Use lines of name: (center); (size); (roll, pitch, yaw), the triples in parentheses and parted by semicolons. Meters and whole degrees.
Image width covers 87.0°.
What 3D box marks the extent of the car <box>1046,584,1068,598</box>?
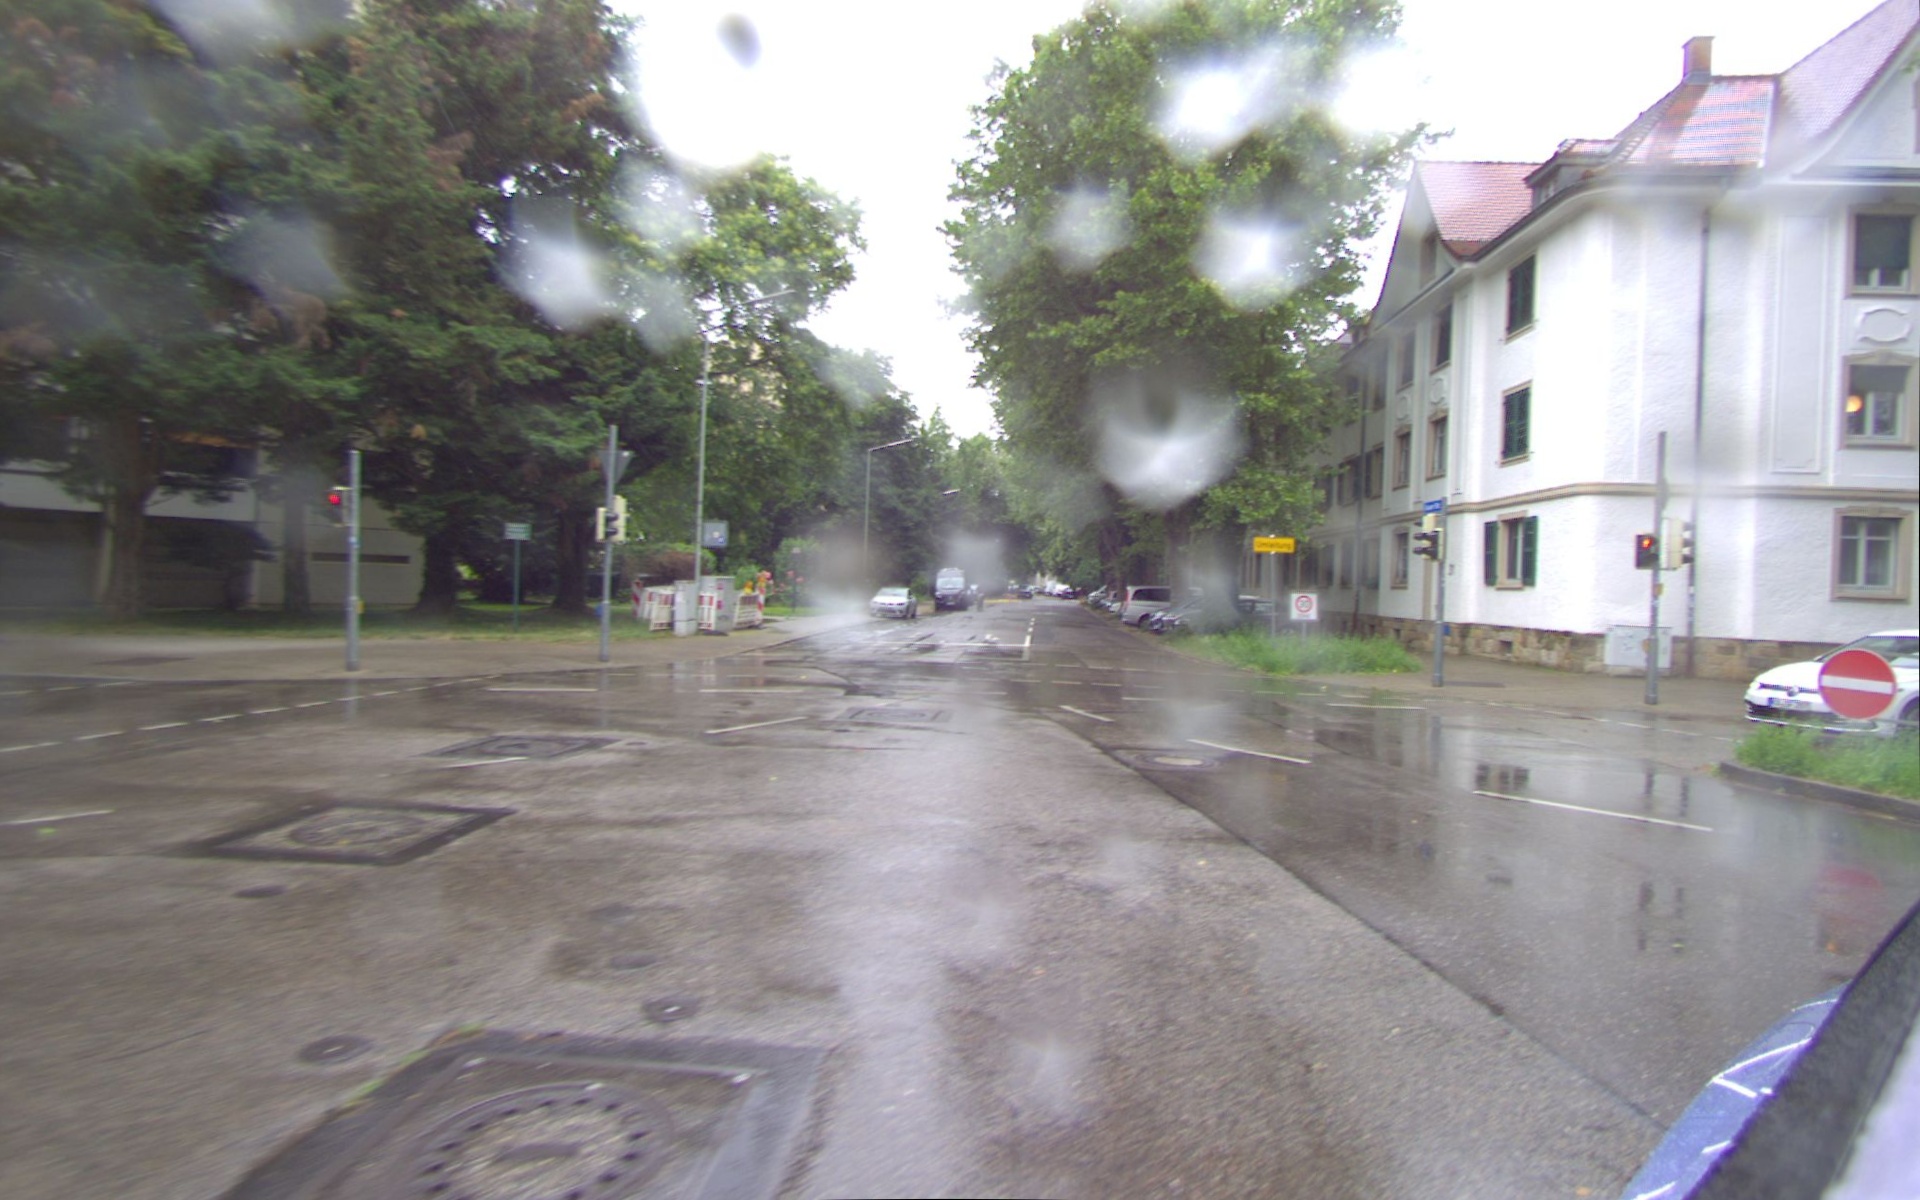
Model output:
car: (12.018, -1.164, 125.440); (1.959, 1.643, 3.700); (1, 1, -7)

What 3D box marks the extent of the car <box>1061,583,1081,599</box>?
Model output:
car: (13.240, -1.071, 121.024); (1.962, 1.829, 4.000); (1, 1, 1)

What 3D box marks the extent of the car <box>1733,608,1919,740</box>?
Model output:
car: (12.268, 0.885, 12.521); (4.308, 1.451, 1.786); (1, 0, -9)

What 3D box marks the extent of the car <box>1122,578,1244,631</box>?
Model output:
car: (9.086, 0.174, 41.569); (4.591, 1.897, 2.030); (3, 1, 6)

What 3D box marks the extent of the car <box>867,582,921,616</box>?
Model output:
car: (-3.064, -0.070, 47.804); (1.791, 1.478, 4.265); (1, 1, 7)

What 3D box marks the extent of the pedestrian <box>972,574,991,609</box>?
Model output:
pedestrian: (1.305, -0.535, 61.868); (0.928, 2.088, 1.078); (3, 0, 9)

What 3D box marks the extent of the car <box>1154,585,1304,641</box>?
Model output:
car: (9.246, 0.425, 35.094); (4.655, 1.643, 1.928); (3, 1, 4)

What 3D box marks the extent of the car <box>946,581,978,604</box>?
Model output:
car: (0.178, -0.553, 73.173); (1.964, 1.558, 3.995); (1, 1, 5)

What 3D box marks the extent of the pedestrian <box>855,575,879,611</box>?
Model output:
pedestrian: (-4.564, -0.345, 49.775); (0.928, 1.681, 0.926); (3, 0, 9)

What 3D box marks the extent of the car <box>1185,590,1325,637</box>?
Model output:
car: (9.365, 0.408, 32.315); (3.926, 1.371, 1.796); (1, 1, 2)

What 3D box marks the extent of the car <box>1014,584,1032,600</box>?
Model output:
car: (7.476, -0.926, 120.933); (1.963, 1.829, 4.349); (1, 1, 1)

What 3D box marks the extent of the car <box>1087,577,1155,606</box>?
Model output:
car: (12.541, -0.688, 79.042); (5.002, 2.049, 2.030); (3, 1, 6)

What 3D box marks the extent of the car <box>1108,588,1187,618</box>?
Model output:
car: (11.360, 0.183, 61.570); (4.451, 1.590, 2.030); (3, 1, 6)

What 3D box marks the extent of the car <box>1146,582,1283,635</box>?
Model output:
car: (9.374, 0.302, 37.631); (4.591, 1.711, 2.030); (3, 1, 6)

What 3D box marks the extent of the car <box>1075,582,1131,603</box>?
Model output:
car: (12.274, -0.645, 87.210); (4.591, 1.624, 2.030); (3, 1, 6)

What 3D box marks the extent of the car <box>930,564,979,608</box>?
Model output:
car: (-0.282, -0.870, 63.583); (2.361, 2.506, 5.683); (3, 1, 6)

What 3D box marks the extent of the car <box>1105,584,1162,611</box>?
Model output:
car: (11.969, -0.196, 69.946); (3.658, 1.711, 1.935); (3, 1, 6)
